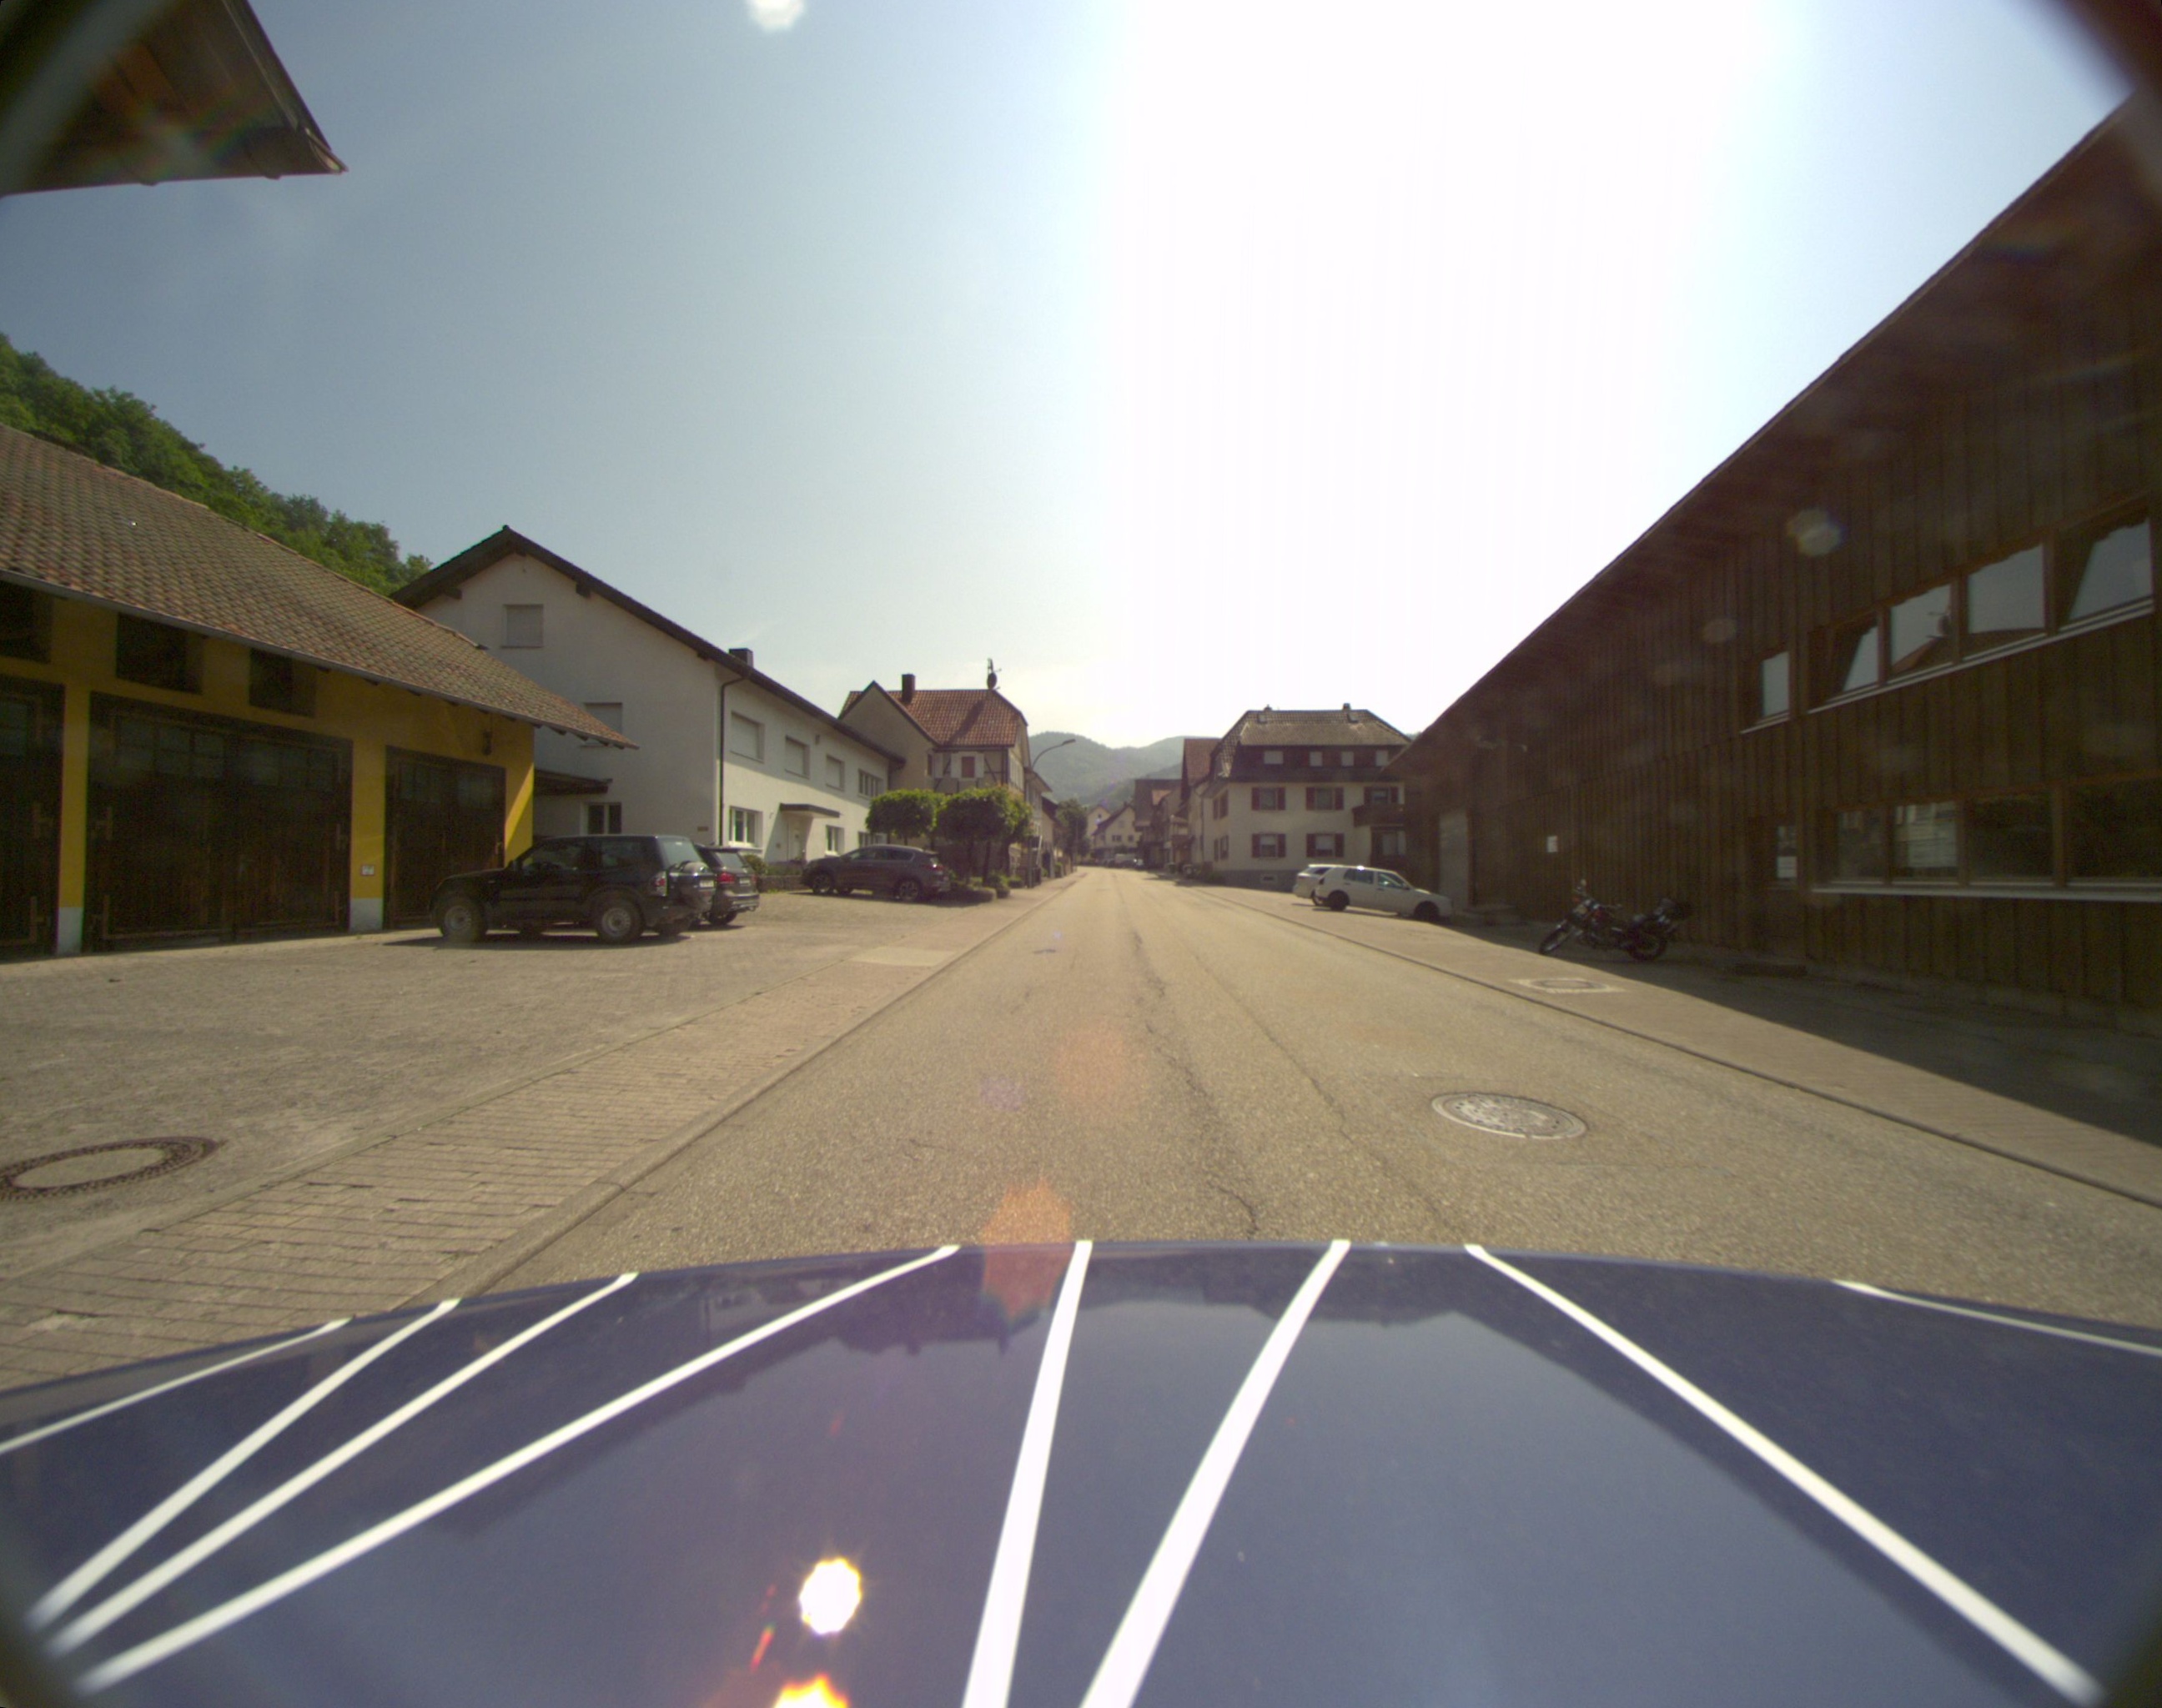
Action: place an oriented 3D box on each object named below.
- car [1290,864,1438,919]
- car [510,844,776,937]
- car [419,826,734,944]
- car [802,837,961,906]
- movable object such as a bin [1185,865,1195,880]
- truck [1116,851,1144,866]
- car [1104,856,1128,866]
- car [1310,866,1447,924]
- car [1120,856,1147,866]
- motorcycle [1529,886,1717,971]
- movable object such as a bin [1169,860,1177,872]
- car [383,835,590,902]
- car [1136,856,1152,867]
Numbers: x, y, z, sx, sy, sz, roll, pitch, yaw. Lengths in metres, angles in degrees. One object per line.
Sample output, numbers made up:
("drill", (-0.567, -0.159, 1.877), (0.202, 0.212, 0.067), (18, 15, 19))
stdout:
("car", (9.642, 1.216, 25.898), (4.431, 1.466, 1.928), (4, 1, 28))
("car", (-9.040, 0.727, 16.004), (4.431, 1.749, 1.952), (1, 0, -1))
("car", (-8.578, 0.505, 13.236), (4.137, 1.822, 1.954), (1, 0, -1))
("car", (-6.023, 0.514, 23.217), (4.229, 1.677, 1.777), (5, 1, 6))
("movable object such as a bin", (7.928, 1.347, 55.398), (0.677, 1.060, 0.621), (0, 0, 0))
("truck", (7.814, 0.686, 120.898), (4.177, 2.253, 1.999), (-1, 0, -3))
("car", (5.930, 1.111, 127.963), (3.996, 1.563, 1.577), (2, 0, 4))
("car", (8.963, 1.213, 23.182), (3.662, 1.377, 1.713), (4, 1, 17))
("car", (7.987, 1.100, 115.928), (4.105, 1.494, 1.754), (0, 0, 0))
("motorcycle", (8.869, 1.200, 12.539), (2.412, 1.257, 0.744), (1, 0, 12))
("movable object such as a bin", (9.152, 1.213, 75.651), (0.719, 1.174, 0.598), (2, 0, 3))
("car", (-15.661, 0.371, 20.194), (3.997, 1.634, 1.871), (1, 0, -1))
("car", (8.972, 1.023, 108.424), (1.774, 1.544, 4.285), (-1, 0, -1))
